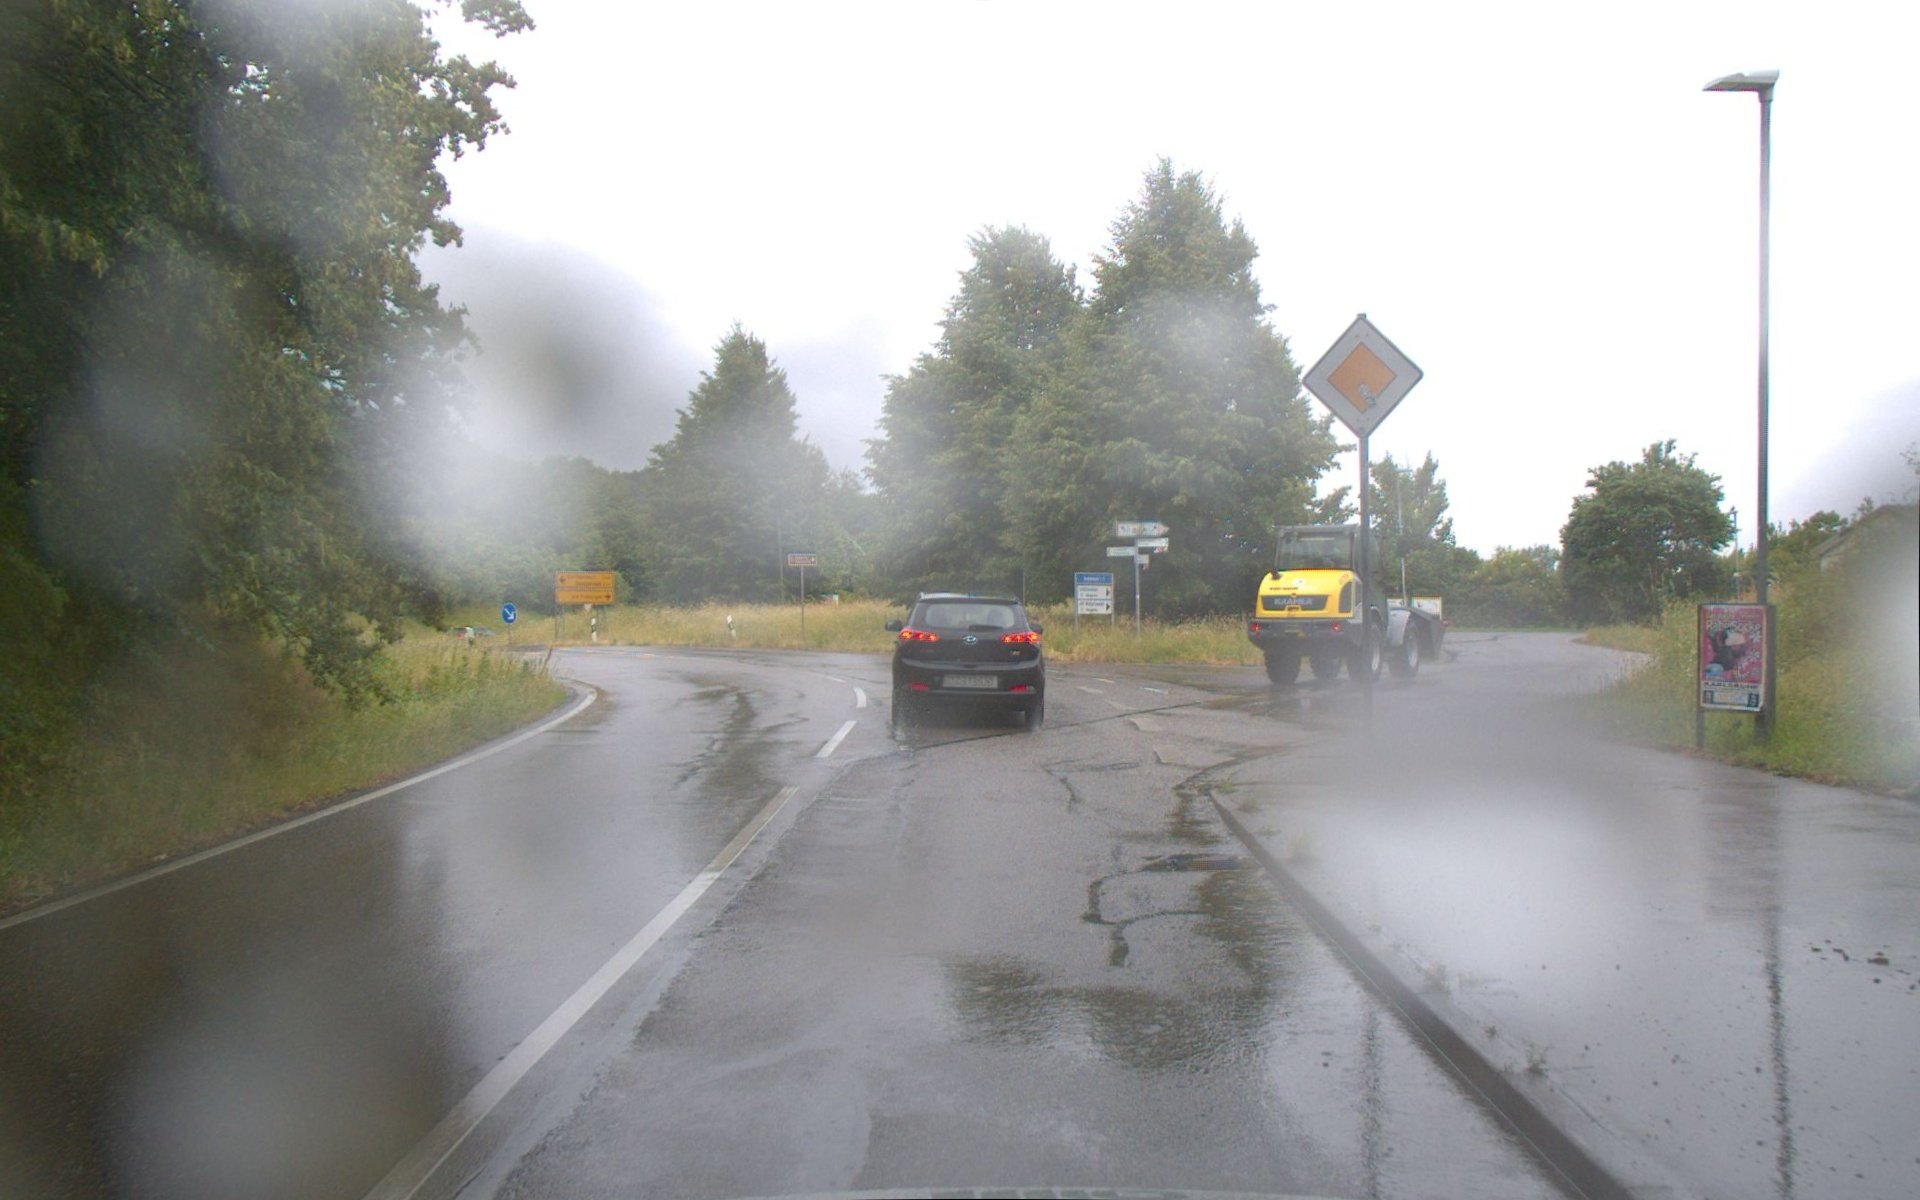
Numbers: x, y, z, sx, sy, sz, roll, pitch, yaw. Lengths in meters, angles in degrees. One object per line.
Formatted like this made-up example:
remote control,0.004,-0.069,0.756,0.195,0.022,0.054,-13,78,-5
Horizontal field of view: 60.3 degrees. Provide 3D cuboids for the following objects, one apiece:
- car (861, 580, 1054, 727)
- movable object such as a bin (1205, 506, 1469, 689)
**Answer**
car,-0.139,0.575,19.441,1.954,1.513,3.996,1,0,-4
movable object such as a bin,6.568,-0.002,28.033,2.206,2.716,6.607,1,0,33
